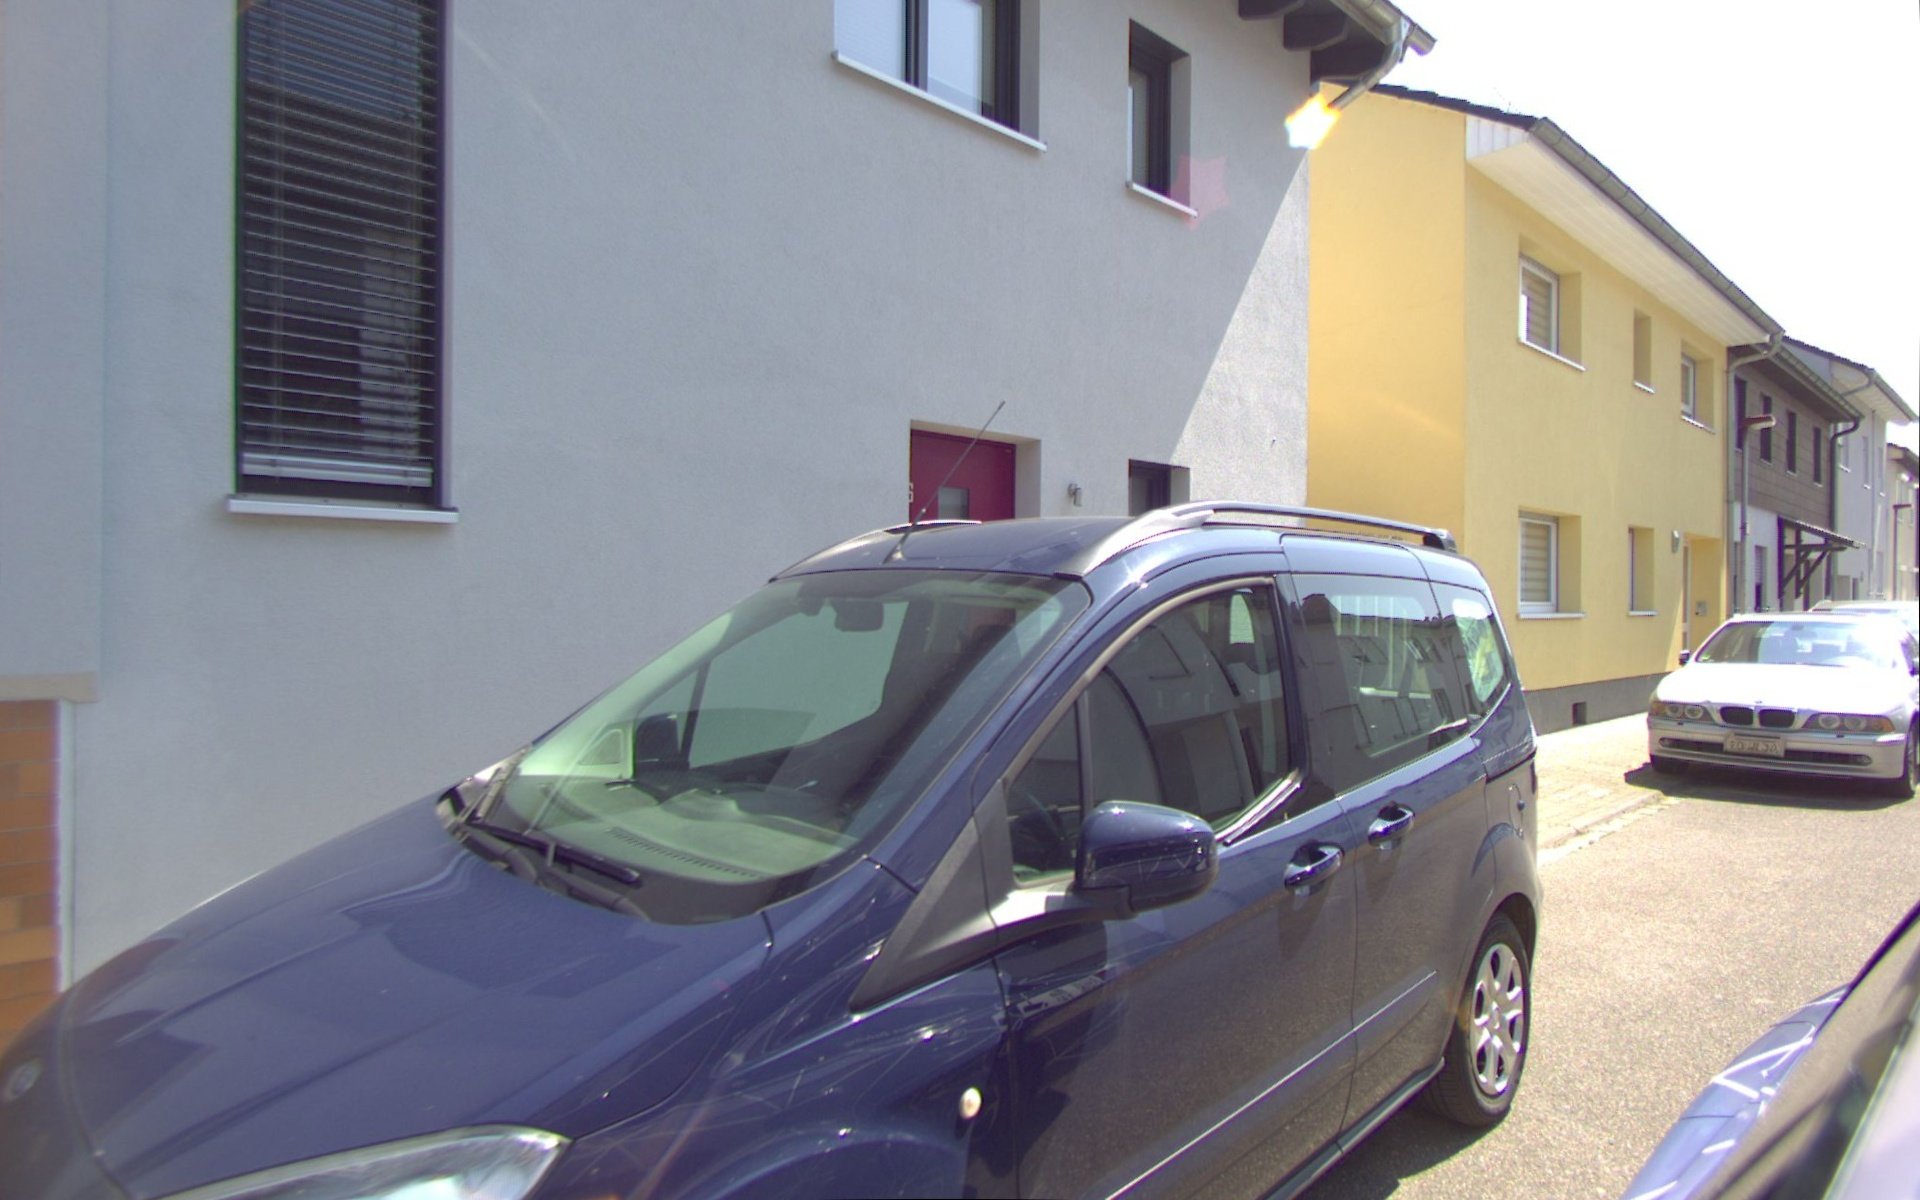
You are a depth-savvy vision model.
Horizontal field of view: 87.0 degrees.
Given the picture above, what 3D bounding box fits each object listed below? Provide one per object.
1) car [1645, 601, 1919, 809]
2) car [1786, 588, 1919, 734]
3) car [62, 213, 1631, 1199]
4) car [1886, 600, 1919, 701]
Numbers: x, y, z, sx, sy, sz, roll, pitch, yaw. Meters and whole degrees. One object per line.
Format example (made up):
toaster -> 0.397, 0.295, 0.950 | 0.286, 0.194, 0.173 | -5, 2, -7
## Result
car -> 7.887, 0.753, 9.279 | 4.174, 1.432, 1.665 | 0, 1, -42
car -> 11.774, 0.664, 12.711 | 3.896, 1.604, 1.681 | 0, 0, -43
car -> 0.275, 0.600, 2.807 | 4.128, 1.800, 1.698 | 0, -1, -43
car -> 16.122, 0.766, 16.344 | 3.340, 1.547, 1.401 | 0, -1, -42
